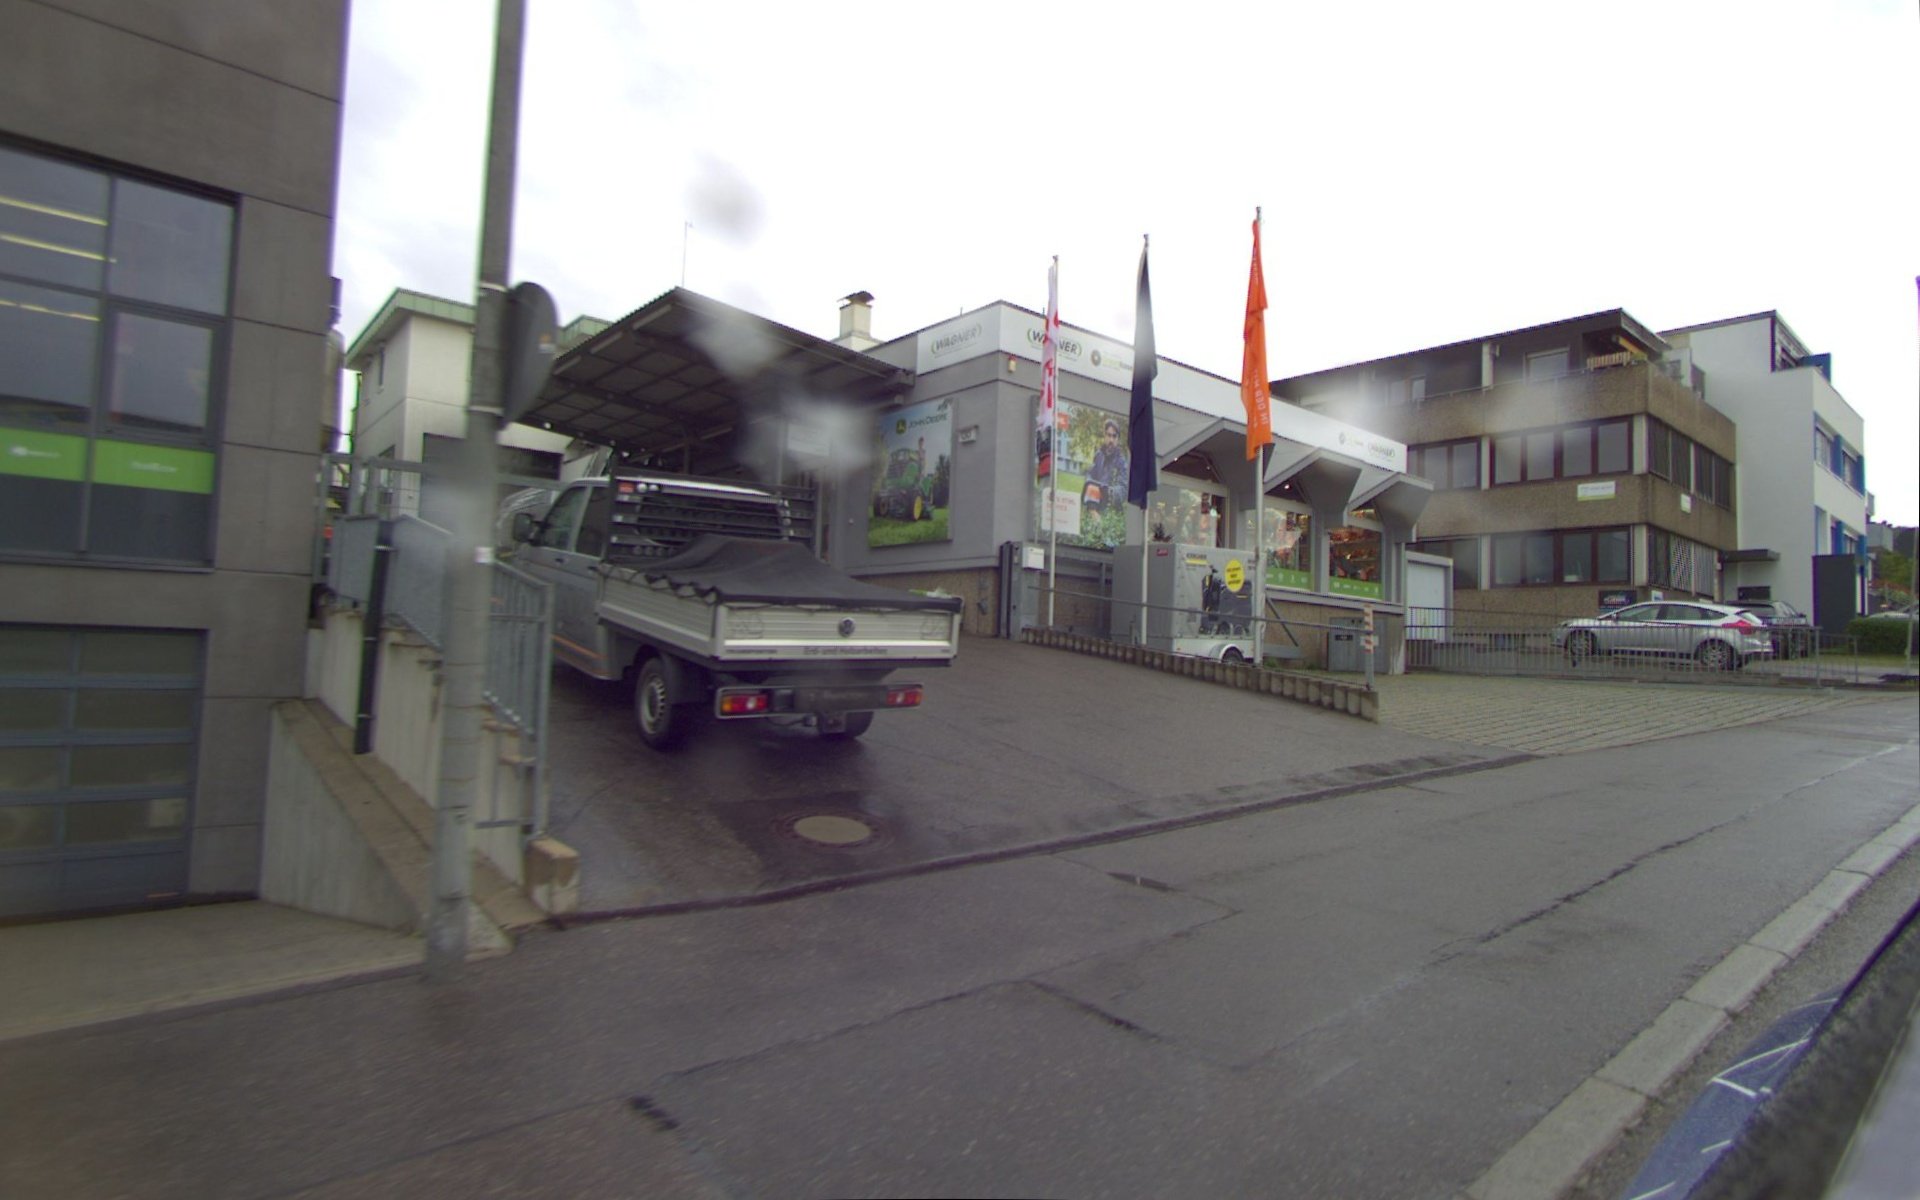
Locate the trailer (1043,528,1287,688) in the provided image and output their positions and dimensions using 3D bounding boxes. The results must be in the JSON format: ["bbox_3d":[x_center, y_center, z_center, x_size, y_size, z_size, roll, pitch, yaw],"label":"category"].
[{"bbox_3d":[3.633,0.156,17.558,4.230,2.448,1.891,1,-1,-39],"label":"trailer"}]

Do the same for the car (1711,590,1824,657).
[{"bbox_3d":[23.224,0.617,29.039,4.395,1.772,1.751,-1,0,-41],"label":"car"}]

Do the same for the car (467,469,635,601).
[{"bbox_3d":[-9.634,-1.341,23.544,1.964,2.654,5.401,3,-2,-40],"label":"car"}]

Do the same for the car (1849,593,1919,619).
[{"bbox_3d":[64.942,0.419,71.158,1.831,1.604,4.311,-1,3,14],"label":"car"}]

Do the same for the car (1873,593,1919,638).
[{"bbox_3d":[35.358,0.579,35.579,2.042,1.558,4.606,0,1,-40],"label":"car"}]

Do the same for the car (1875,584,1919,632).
[{"bbox_3d":[37.333,0.287,37.928,2.053,1.795,4.347,0,0,-42],"label":"car"}]

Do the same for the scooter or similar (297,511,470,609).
[{"bbox_3d":[-7.403,-0.499,13.019,1.811,1.169,1.007,0,3,-38],"label":"scooter or similar"}]

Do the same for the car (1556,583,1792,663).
[{"bbox_3d":[16.516,0.440,23.559,1.968,1.593,4.129,-1,2,-40],"label":"car"}]

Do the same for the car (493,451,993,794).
[{"bbox_3d":[-2.294,-0.157,8.983,2.181,2.036,5.319,0,8,-38],"label":"car"}]

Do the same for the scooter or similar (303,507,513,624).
[{"bbox_3d":[-6.588,-0.392,12.109,2.026,1.240,1.068,2,2,-38],"label":"scooter or similar"}]
